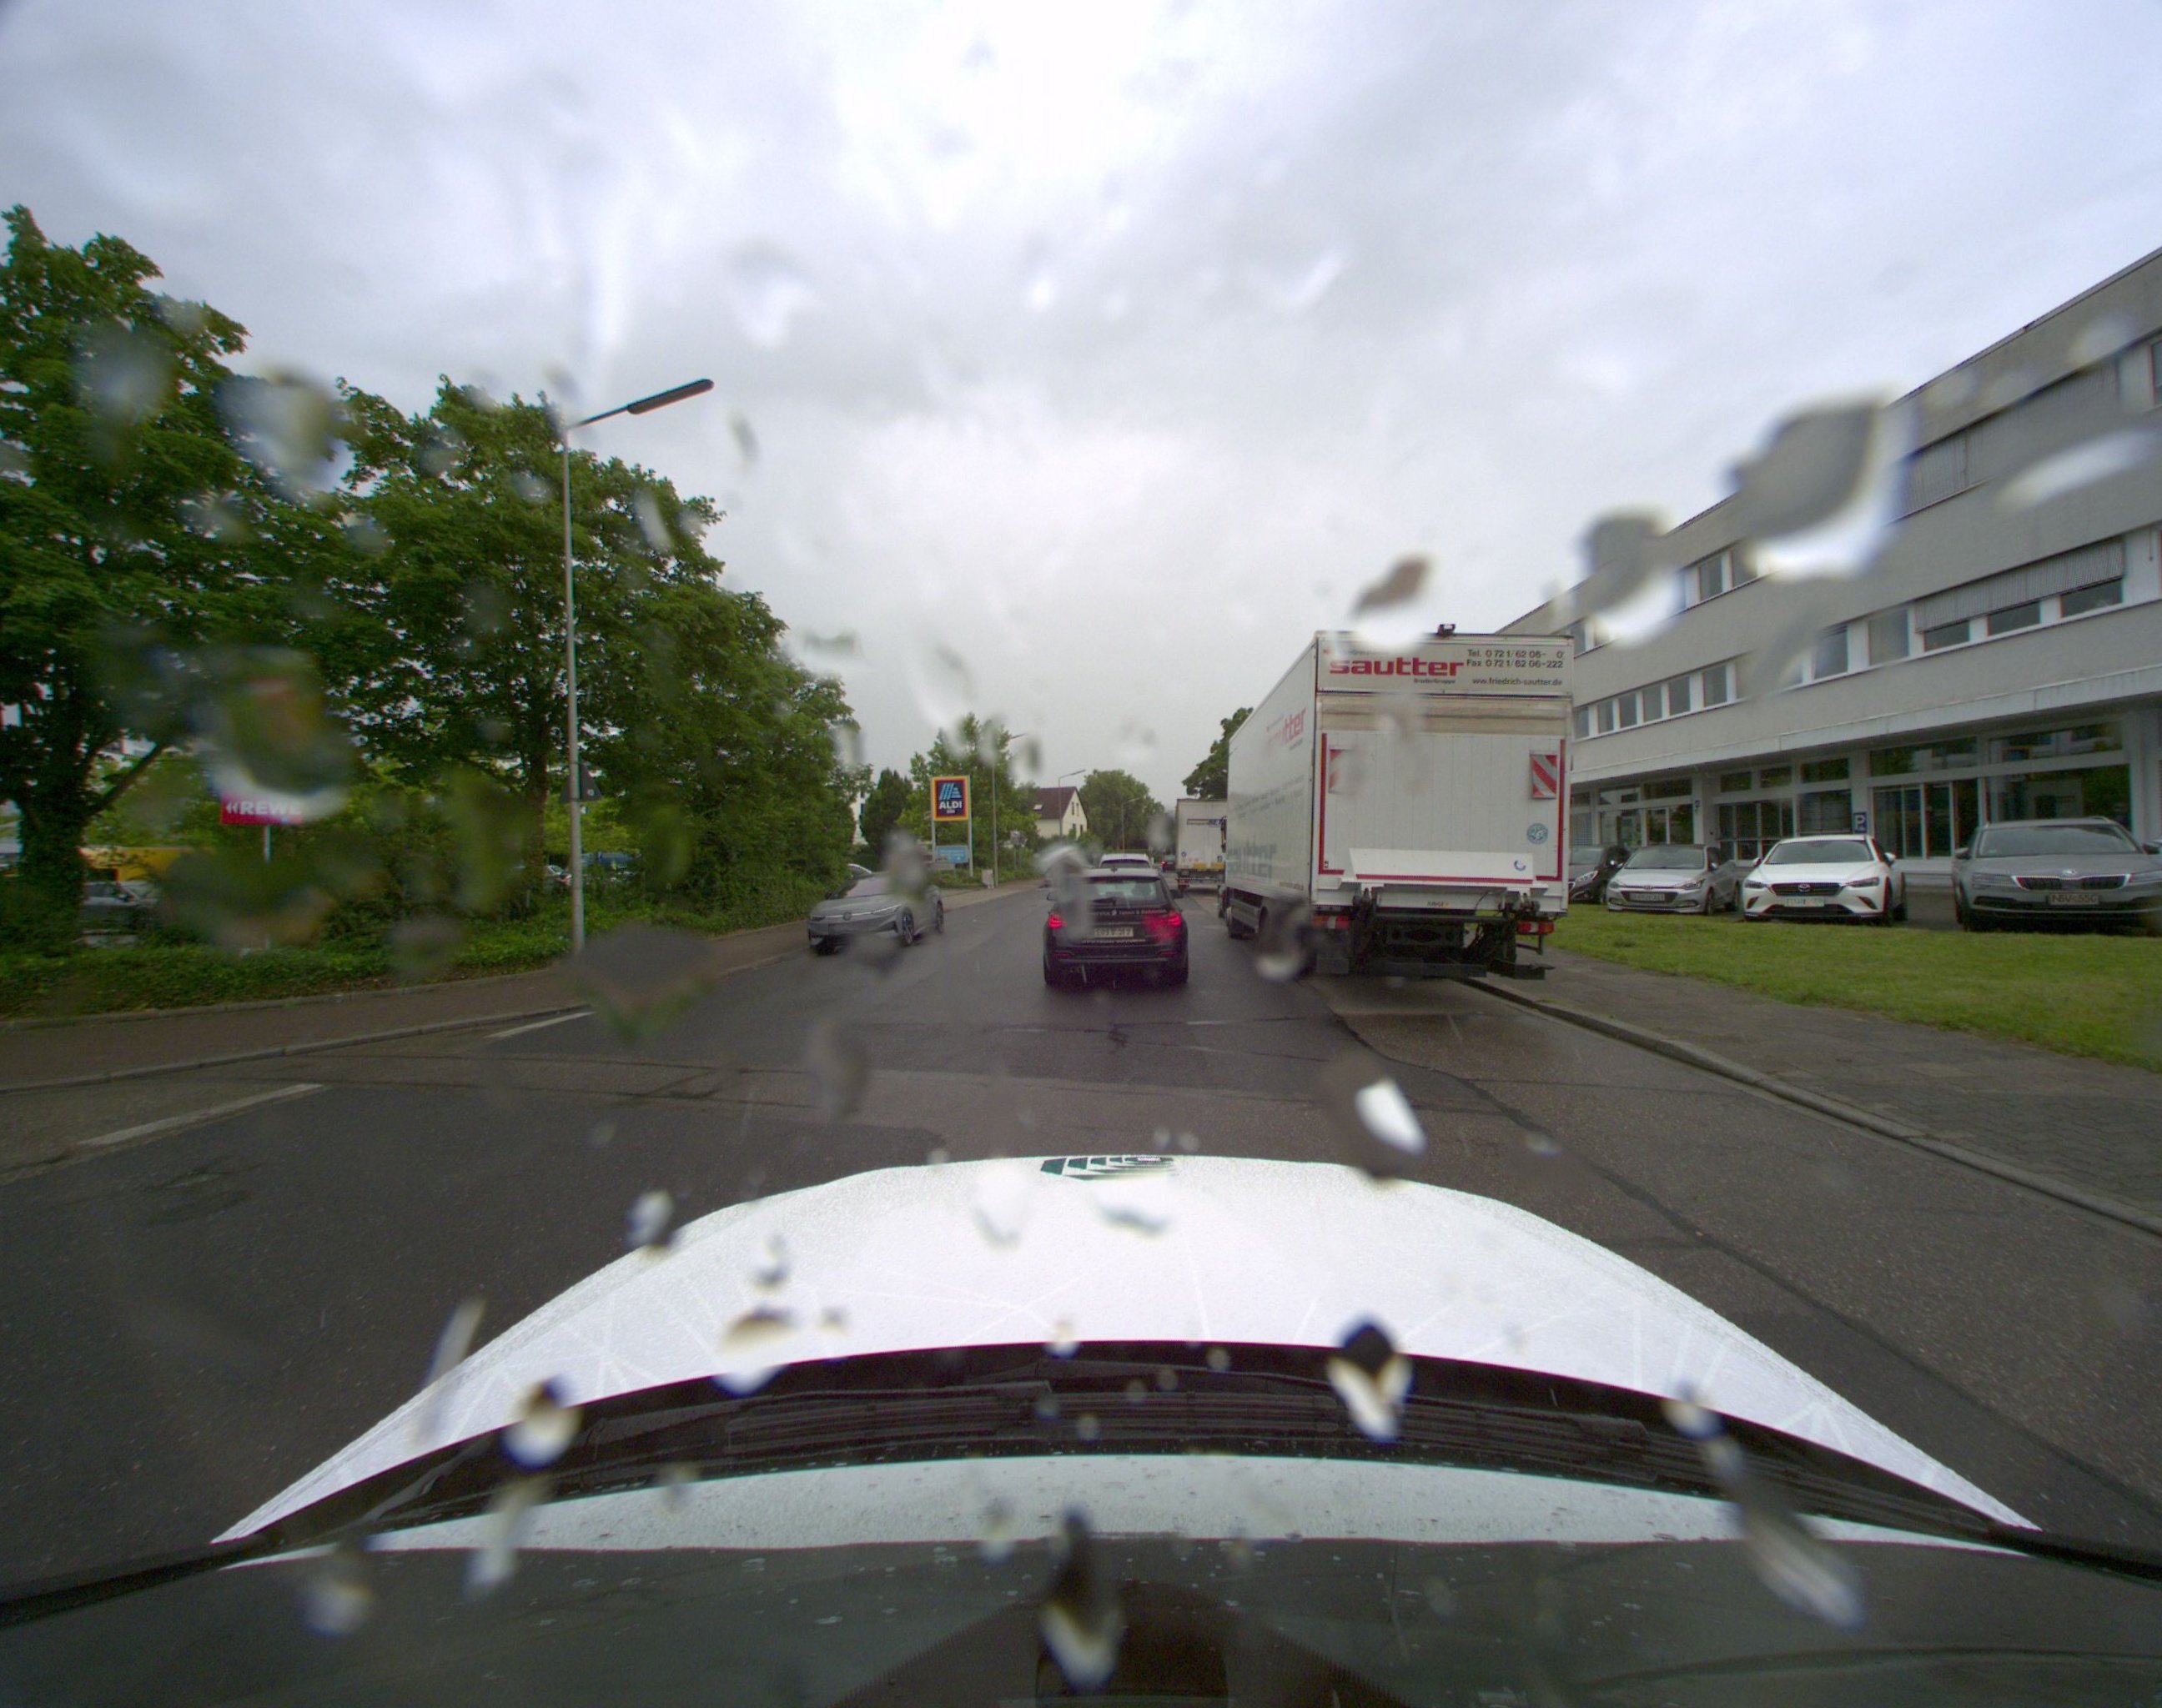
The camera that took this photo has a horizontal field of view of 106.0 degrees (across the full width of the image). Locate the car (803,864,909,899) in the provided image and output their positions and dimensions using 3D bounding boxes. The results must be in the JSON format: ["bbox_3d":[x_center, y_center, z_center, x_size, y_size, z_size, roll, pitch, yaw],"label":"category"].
[{"bbox_3d":[-9.901,1.186,36.001,4.177,1.460,1.712,-1,-1,0],"label":"car"}]

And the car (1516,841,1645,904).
[{"bbox_3d":[12.368,0.411,20.096,3.789,1.393,1.686,-1,0,-42],"label":"car"}]

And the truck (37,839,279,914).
[{"bbox_3d":[-36.166,0.821,32.329,1.984,2.601,6.404,-2,0,4],"label":"truck"}]

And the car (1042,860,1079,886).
[{"bbox_3d":[-1.238,1.139,50.371,1.697,1.367,4.607,-4,0,5],"label":"car"}]

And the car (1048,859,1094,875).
[{"bbox_3d":[-0.899,1.176,75.731,4.169,1.363,1.590,-1,0,3],"label":"car"}]

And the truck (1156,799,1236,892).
[{"bbox_3d":[4.890,-0.315,35.850,2.730,3.611,7.755,1,0,3],"label":"truck"}]

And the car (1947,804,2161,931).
[{"bbox_3d":[13.917,0.147,11.762,4.022,1.527,1.850,-1,0,-43],"label":"car"}]

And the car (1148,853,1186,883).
[{"bbox_3d":[5.115,0.845,48.902,1.986,1.684,4.002,-1,-1,2],"label":"car"}]

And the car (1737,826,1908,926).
[{"bbox_3d":[12.763,0.308,13.941,4.022,1.470,1.754,-1,0,-42],"label":"car"}]

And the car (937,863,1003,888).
[{"bbox_3d":[-6.554,1.268,48.373,3.553,1.460,1.714,0,0,4],"label":"car"}]

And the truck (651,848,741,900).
[{"bbox_3d":[-22.448,1.128,47.896,1.986,2.753,6.469,-2,-1,2],"label":"truck"}]

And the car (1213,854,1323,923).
[{"bbox_3d":[4.380,0.758,19.708,1.790,1.441,4.347,-2,0,2],"label":"car"}]

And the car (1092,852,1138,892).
[{"bbox_3d":[1.395,0.740,34.474,1.798,1.586,4.001,-1,-1,1],"label":"car"}]

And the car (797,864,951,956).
[{"bbox_3d":[-4.188,1.059,17.350,1.802,1.528,4.750,-5,-1,2],"label":"car"}]

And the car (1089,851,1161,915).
[{"bbox_3d":[1.146,0.750,22.544,1.798,1.586,4.000,-1,-1,1],"label":"car"}]

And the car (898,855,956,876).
[{"bbox_3d":[-11.765,0.879,62.300,3.970,1.540,1.912,-1,0,3],"label":"car"}]

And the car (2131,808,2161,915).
[{"bbox_3d":[18.101,0.077,11.207,1.986,1.706,4.145,-2,0,2],"label":"car"}]

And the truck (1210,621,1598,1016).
[{"bbox_3d":[3.863,-0.336,12.550,2.729,3.789,9.306,1,0,3],"label":"truck"}]

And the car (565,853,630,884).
[{"bbox_3d":[-38.165,1.113,64.429,1.985,2.297,4.818,-2,0,3],"label":"car"}]

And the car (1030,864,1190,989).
[{"bbox_3d":[0.366,0.849,11.241,1.798,1.395,4.000,-1,-1,1],"label":"car"}]

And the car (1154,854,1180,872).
[{"bbox_3d":[8.075,0.836,76.118,1.791,1.586,4.015,-1,-1,14],"label":"car"}]

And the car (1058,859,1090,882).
[{"bbox_3d":[-0.436,1.133,56.330,1.697,1.367,3.845,-4,0,6],"label":"car"}]

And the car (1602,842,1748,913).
[{"bbox_3d":[12.552,0.441,17.117,4.022,1.286,1.686,-1,0,-42],"label":"car"}]
